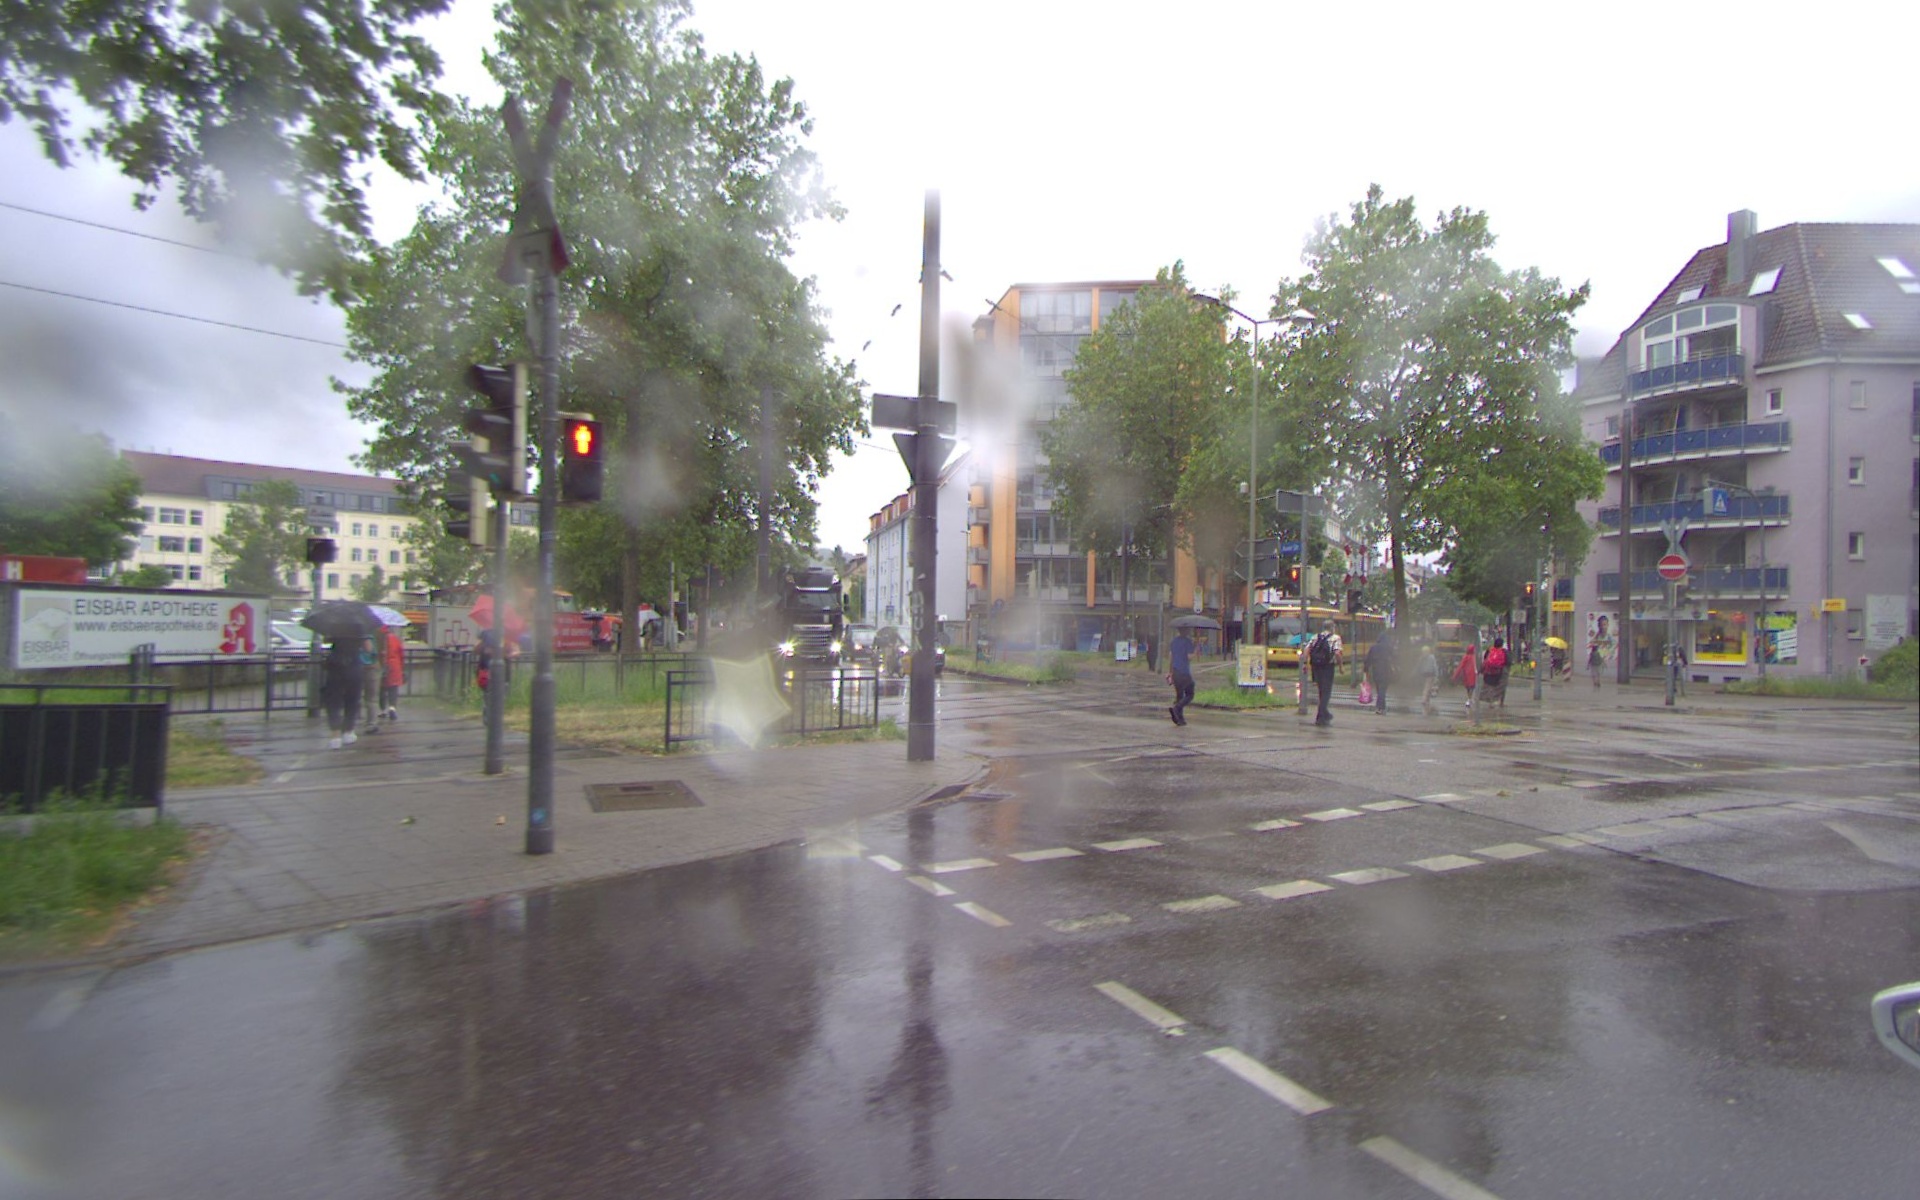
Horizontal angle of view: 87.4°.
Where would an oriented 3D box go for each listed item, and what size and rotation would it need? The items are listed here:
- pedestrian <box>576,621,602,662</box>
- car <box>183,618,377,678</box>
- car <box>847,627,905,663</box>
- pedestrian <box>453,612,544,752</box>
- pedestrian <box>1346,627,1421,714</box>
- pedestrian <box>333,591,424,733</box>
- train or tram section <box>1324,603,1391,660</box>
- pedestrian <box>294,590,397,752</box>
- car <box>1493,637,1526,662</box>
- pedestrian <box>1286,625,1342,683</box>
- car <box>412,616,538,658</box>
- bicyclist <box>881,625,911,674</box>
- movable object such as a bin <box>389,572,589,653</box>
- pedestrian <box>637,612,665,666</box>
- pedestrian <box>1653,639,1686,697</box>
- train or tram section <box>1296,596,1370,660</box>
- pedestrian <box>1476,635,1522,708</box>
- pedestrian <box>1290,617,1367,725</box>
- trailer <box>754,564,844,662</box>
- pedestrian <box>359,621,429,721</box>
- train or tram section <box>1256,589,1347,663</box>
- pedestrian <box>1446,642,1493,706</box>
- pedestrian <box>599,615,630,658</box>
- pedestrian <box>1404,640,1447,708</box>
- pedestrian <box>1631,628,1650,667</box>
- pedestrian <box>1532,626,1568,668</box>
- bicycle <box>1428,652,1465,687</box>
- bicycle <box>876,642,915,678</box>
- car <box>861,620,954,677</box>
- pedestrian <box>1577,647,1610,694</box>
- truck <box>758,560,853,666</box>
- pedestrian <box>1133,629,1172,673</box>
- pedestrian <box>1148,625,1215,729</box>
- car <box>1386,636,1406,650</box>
[{"bbox_3d":[-14.341,1.595,38.873,0.630,1.535,0.772,1,-1,9],"label":"pedestrian"},{"bbox_3d":[-17.153,1.197,25.477,3.593,1.338,1.844,2,-1,0],"label":"car"},{"bbox_3d":[-3.655,1.903,43.249,1.676,1.391,4.085,2,-1,-16],"label":"car"},{"bbox_3d":[-5.926,1.019,12.897,0.853,1.710,0.839,1,-1,-41],"label":"pedestrian"},{"bbox_3d":[8.673,1.423,20.584,1.043,1.709,0.988,1,-1,-30],"label":"pedestrian"},{"bbox_3d":[-8.096,0.839,13.979,0.948,1.887,0.839,1,-1,-41],"label":"pedestrian"},{"bbox_3d":[26.144,2.068,65.765,2.599,3.395,9.969,1,-2,30],"label":"train or tram section"},{"bbox_3d":[-7.554,0.843,12.342,0.948,1.887,0.839,1,-1,-41],"label":"pedestrian"},{"bbox_3d":[38.167,3.409,69.782,1.964,1.695,3.994,0,-2,29],"label":"car"},{"bbox_3d":[11.905,1.796,33.837,1.157,1.890,1.378,1,-1,-21],"label":"pedestrian"},{"bbox_3d":[-17.273,1.315,35.925,3.596,1.338,1.842,2,-1,-6],"label":"car"},{"bbox_3d":[-2.008,1.527,31.283,0.573,1.480,1.004,1,-1,-26],"label":"bicyclist"},{"bbox_3d":[-18.842,0.524,40.529,6.647,2.969,2.774,2,-1,-3],"label":"movable object such as a bin"},{"bbox_3d":[-11.695,1.468,38.080,0.896,1.990,1.212,1,-1,-13],"label":"pedestrian"},{"bbox_3d":[22.893,2.196,32.415,0.613,1.828,0.639,1,-1,-25],"label":"pedestrian"},{"bbox_3d":[21.575,1.655,57.809,2.599,3.395,8.361,1,-2,30],"label":"train or tram section"},{"bbox_3d":[12.024,1.573,22.404,0.756,1.568,0.684,1,-1,-42],"label":"pedestrian"},{"bbox_3d":[6.368,1.199,17.359,0.983,1.805,0.805,1,-1,-30],"label":"pedestrian"},{"bbox_3d":[-8.333,0.689,50.099,3.394,4.102,15.013,1,-1,-13],"label":"trailer"},{"bbox_3d":[-9.058,1.106,16.065,0.822,1.524,0.839,1,-1,-41],"label":"pedestrian"},{"bbox_3d":[17.339,1.334,50.624,2.600,3.414,8.359,1,-2,31],"label":"train or tram section"},{"bbox_3d":[11.669,1.670,23.012,1.003,1.400,0.665,1,-1,-44],"label":"pedestrian"},{"bbox_3d":[-13.614,1.417,39.596,0.740,1.671,0.906,0,-1,31],"label":"pedestrian"},{"bbox_3d":[10.985,1.720,23.683,0.862,1.546,1.063,0,-1,28],"label":"pedestrian"},{"bbox_3d":[29.068,2.019,42.900,0.588,1.623,0.468,2,-1,-34],"label":"pedestrian"},{"bbox_3d":[26.715,2.118,45.492,1.143,1.812,0.895,1,-1,11],"label":"pedestrian"},{"bbox_3d":[15.955,2.269,32.959,1.605,1.091,0.441,2,-2,-39],"label":"bicycle"},{"bbox_3d":[-2.021,1.857,31.318,0.526,1.038,1.862,1,-1,-26],"label":"bicycle"},{"bbox_3d":[-2.002,1.723,36.792,2.049,1.704,4.908,4,-1,-19],"label":"car"},{"bbox_3d":[22.390,2.475,35.514,0.977,1.580,0.783,0,-1,30],"label":"pedestrian"},{"bbox_3d":[-6.789,0.587,43.290,3.402,4.132,6.956,2,-1,-13],"label":"truck"},{"bbox_3d":[8.107,2.138,42.366,1.029,1.812,1.224,2,-1,-37],"label":"pedestrian"},{"bbox_3d":[3.549,1.204,16.088,0.854,1.602,0.637,1,-1,-32],"label":"pedestrian"},{"bbox_3d":[52.430,5.176,120.726,1.962,1.553,3.997,1,-1,26],"label":"car"}]
